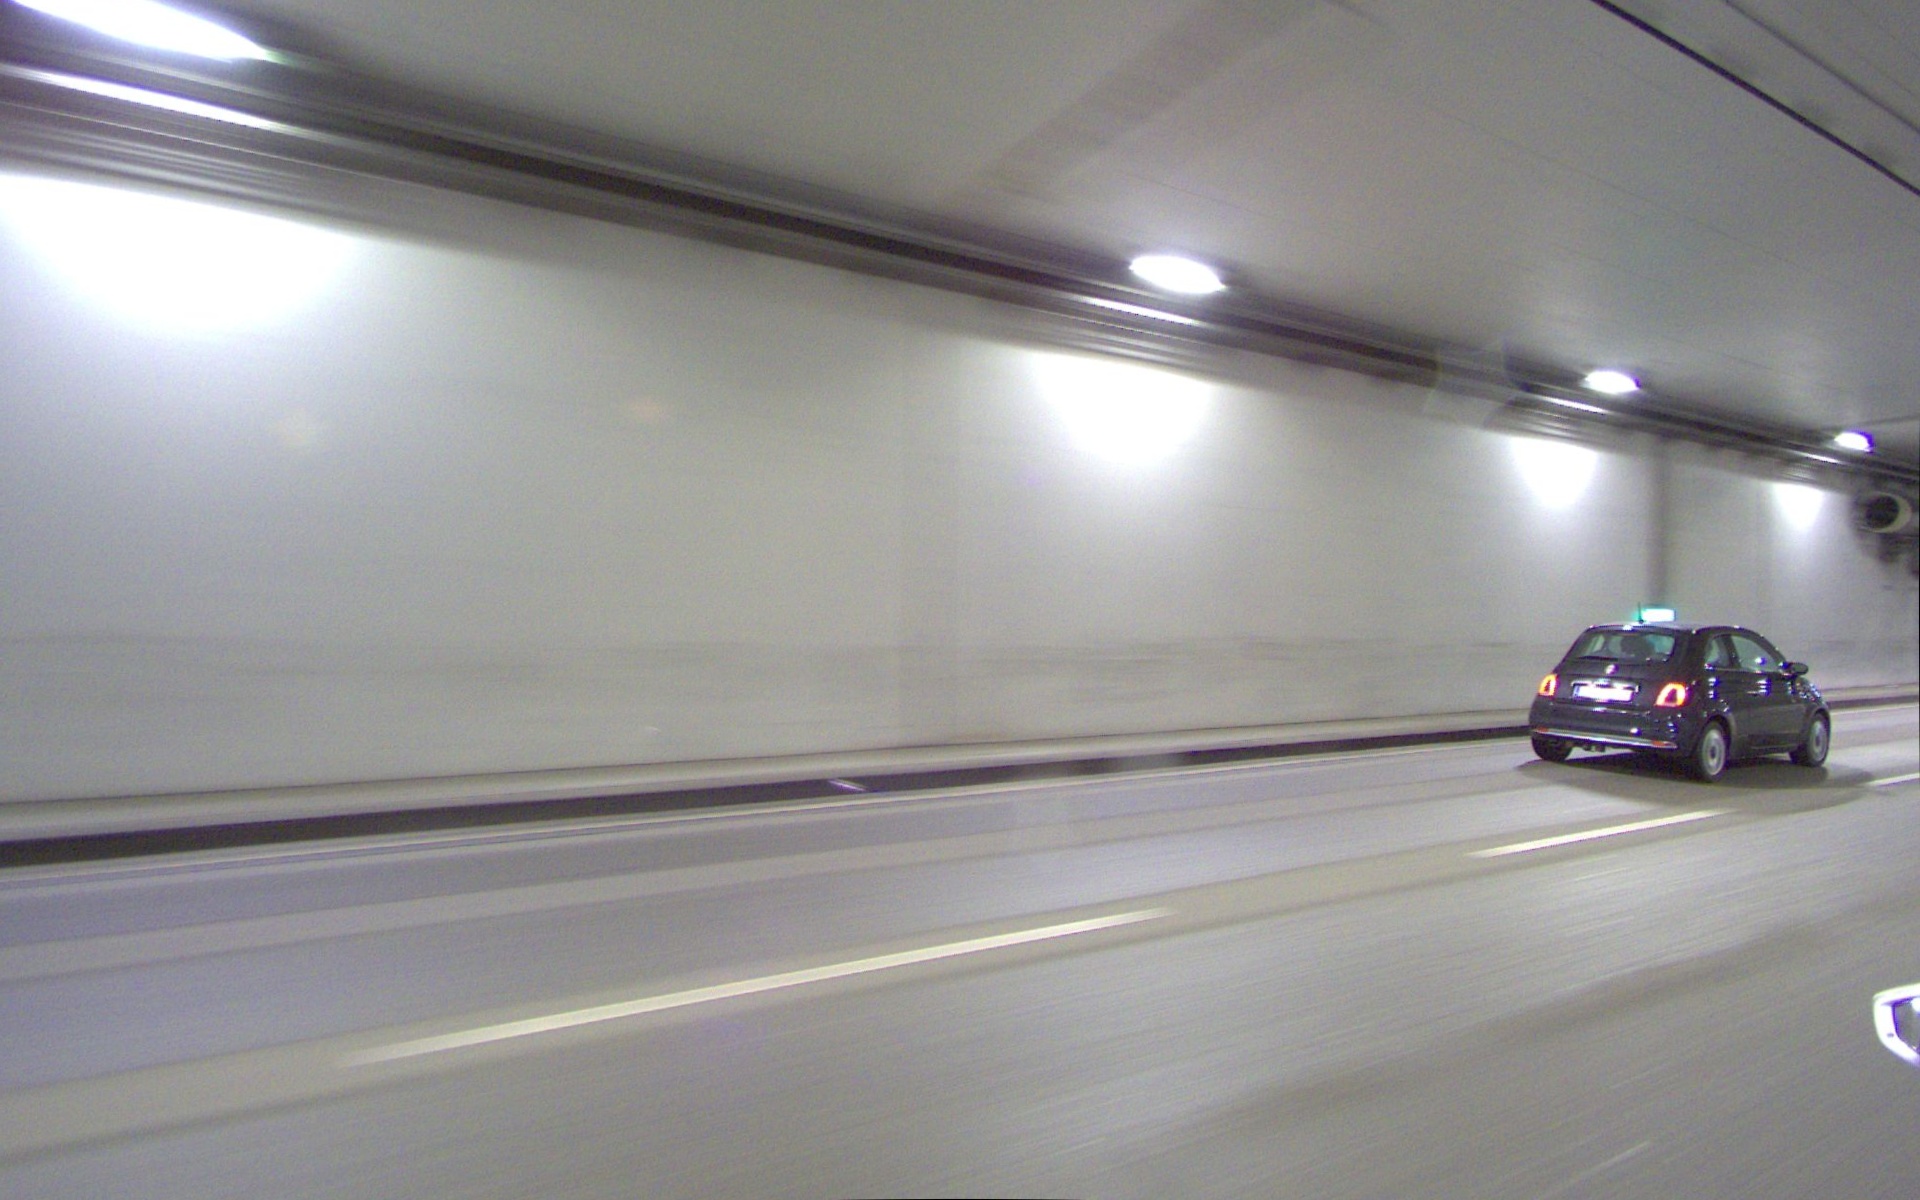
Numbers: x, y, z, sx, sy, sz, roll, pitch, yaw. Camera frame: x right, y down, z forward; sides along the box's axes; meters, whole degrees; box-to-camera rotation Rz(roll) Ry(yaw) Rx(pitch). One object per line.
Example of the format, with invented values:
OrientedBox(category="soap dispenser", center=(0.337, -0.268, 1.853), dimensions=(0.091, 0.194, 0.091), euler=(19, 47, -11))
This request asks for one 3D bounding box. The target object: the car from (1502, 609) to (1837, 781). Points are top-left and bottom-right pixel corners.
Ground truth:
OrientedBox(category="car", center=(7.433, 0.871, 10.459), dimensions=(3.533, 1.474, 1.603), euler=(1, 0, -32))
